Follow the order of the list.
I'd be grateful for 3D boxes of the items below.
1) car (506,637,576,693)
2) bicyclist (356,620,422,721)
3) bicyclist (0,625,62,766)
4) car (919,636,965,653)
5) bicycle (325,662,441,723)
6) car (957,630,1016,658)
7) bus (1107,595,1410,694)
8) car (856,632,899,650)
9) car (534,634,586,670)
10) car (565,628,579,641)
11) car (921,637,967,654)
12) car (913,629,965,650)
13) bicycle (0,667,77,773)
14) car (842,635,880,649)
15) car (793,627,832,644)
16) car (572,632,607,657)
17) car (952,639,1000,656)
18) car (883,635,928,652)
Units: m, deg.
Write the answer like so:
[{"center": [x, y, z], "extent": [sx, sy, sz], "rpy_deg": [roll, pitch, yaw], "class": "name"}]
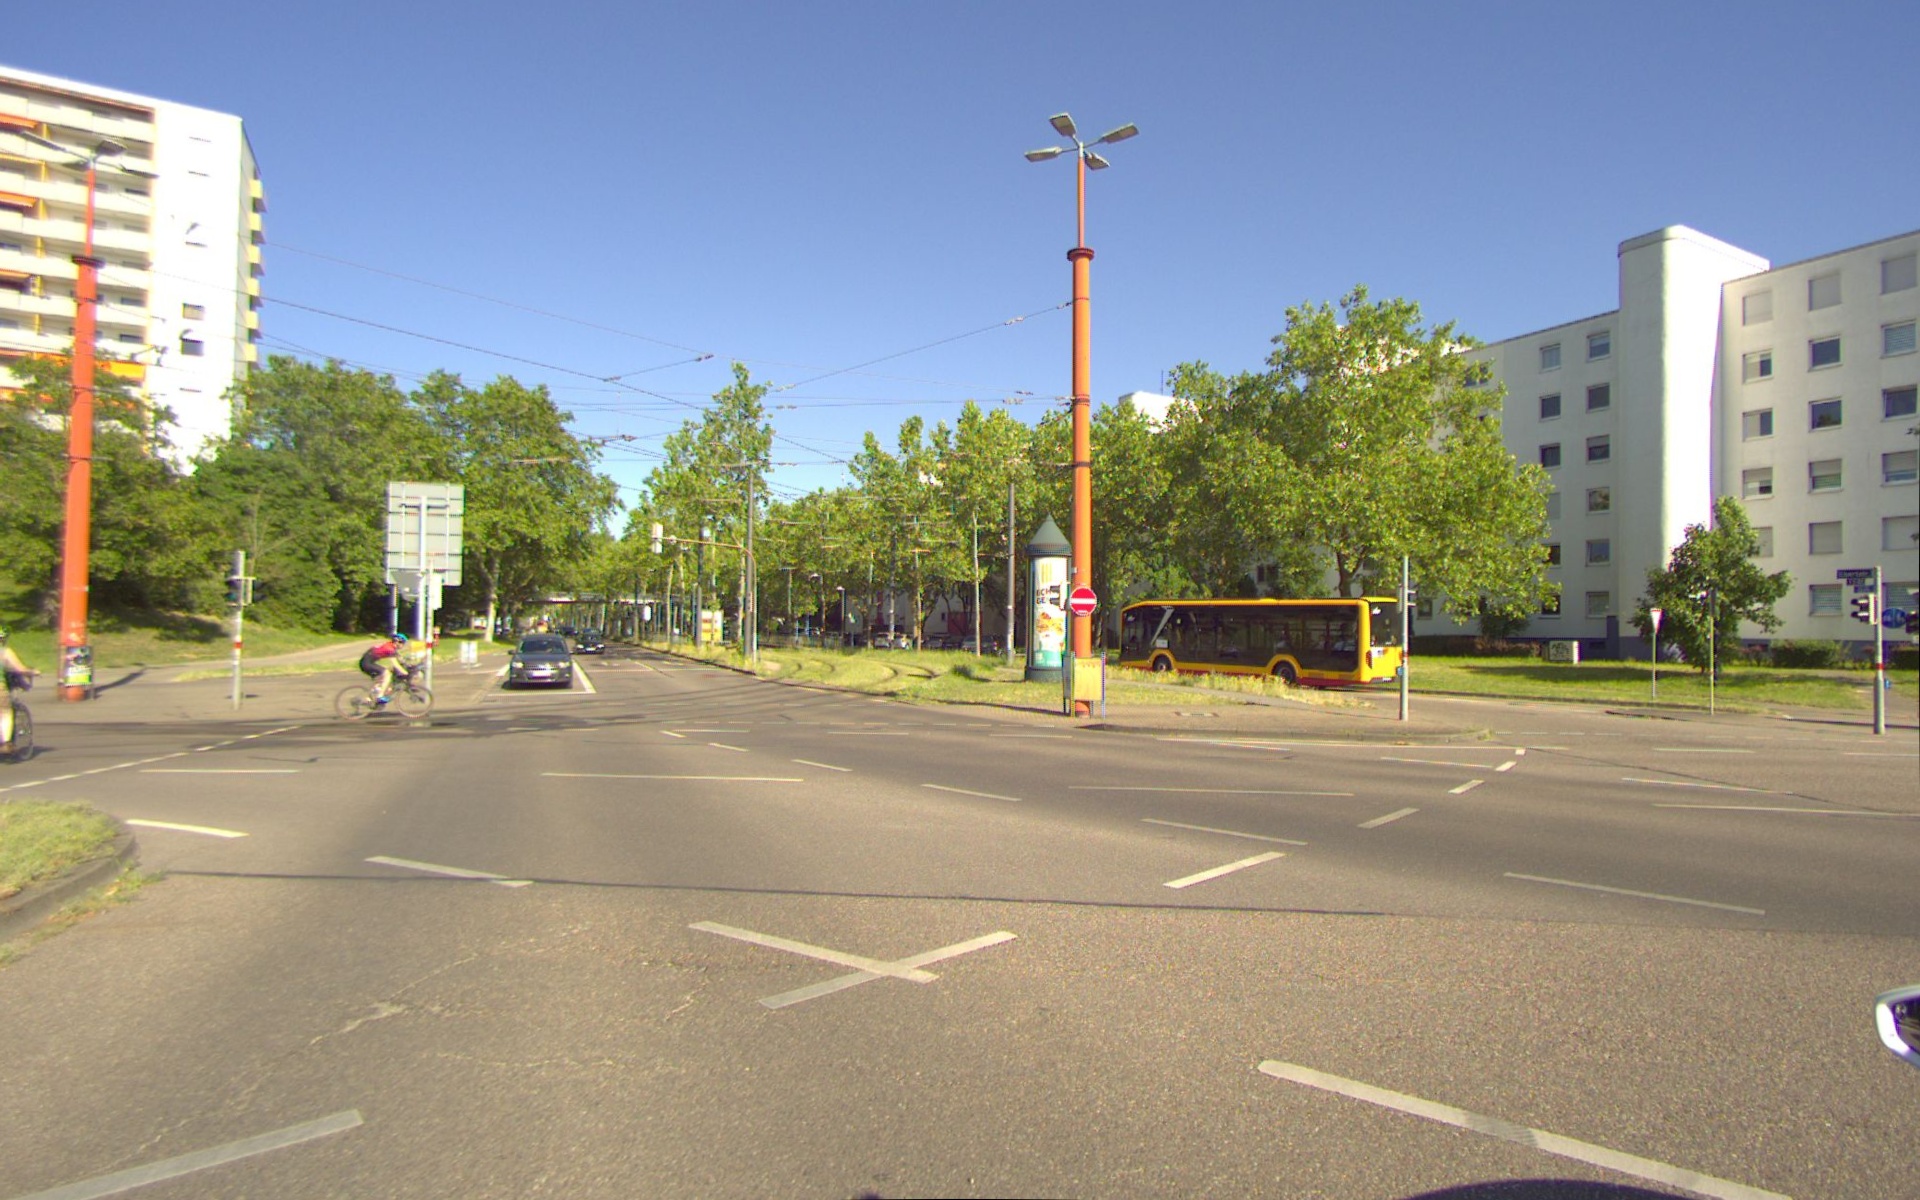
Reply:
[{"center": [-13.130, 1.976, 31.547], "extent": [1.891, 1.516, 4.023], "rpy_deg": [1, -1, -23], "class": "car"}, {"center": [-11.411, 1.389, 20.070], "extent": [0.984, 1.938, 0.678], "rpy_deg": [2, -1, -43], "class": "bicyclist"}, {"center": [-11.525, 1.119, 12.021], "extent": [0.879, 1.643, 0.823], "rpy_deg": [1, -2, -22], "class": "bicyclist"}, {"center": [-1.405, 3.491, 79.265], "extent": [3.337, 1.162, 1.308], "rpy_deg": [1, -1, 20], "class": "car"}, {"center": [-11.499, 1.823, 20.050], "extent": [1.901, 1.086, 0.683], "rpy_deg": [2, -1, -42], "class": "bicycle"}, {"center": [1.873, 3.106, 70.917], "extent": [3.863, 1.841, 1.656], "rpy_deg": [1, -1, 20], "class": "car"}, {"center": [11.063, 1.521, 39.413], "extent": [2.629, 3.304, 12.408], "rpy_deg": [1, -1, -36], "class": "bus"}, {"center": [-7.616, 3.772, 92.599], "extent": [3.574, 1.480, 1.616], "rpy_deg": [1, -1, 14], "class": "car"}, {"center": [-18.999, 2.444, 47.836], "extent": [1.887, 1.516, 3.986], "rpy_deg": [1, -1, -17], "class": "car"}, {"center": [-61.898, 5.499, 160.347], "extent": [1.834, 1.824, 3.976], "rpy_deg": [1, -1, -24], "class": "car"}, {"center": [-1.220, 3.457, 76.626], "extent": [3.212, 1.172, 1.360], "rpy_deg": [1, -1, 22], "class": "car"}, {"center": [-1.716, 3.207, 81.872], "extent": [3.867, 1.614, 1.657], "rpy_deg": [1, -1, 26], "class": "car"}, {"center": [-11.585, 1.413, 12.129], "extent": [0.729, 1.146, 1.906], "rpy_deg": [1, -2, -21], "class": "bicycle"}, {"center": [-9.431, 4.033, 96.030], "extent": [3.349, 1.204, 1.448], "rpy_deg": [1, -1, 11], "class": "car"}, {"center": [-17.600, 4.225, 119.958], "extent": [4.254, 2.010, 1.942], "rpy_deg": [0, -2, 14], "class": "car"}, {"center": [-24.648, 2.952, 66.927], "extent": [1.887, 1.516, 3.986], "rpy_deg": [1, -1, -17], "class": "car"}, {"center": [1.148, 3.476, 73.812], "extent": [3.274, 1.149, 1.323], "rpy_deg": [1, -1, 23], "class": "car"}, {"center": [-4.846, 3.811, 88.694], "extent": [3.663, 1.349, 1.496], "rpy_deg": [1, -1, 26], "class": "car"}]
